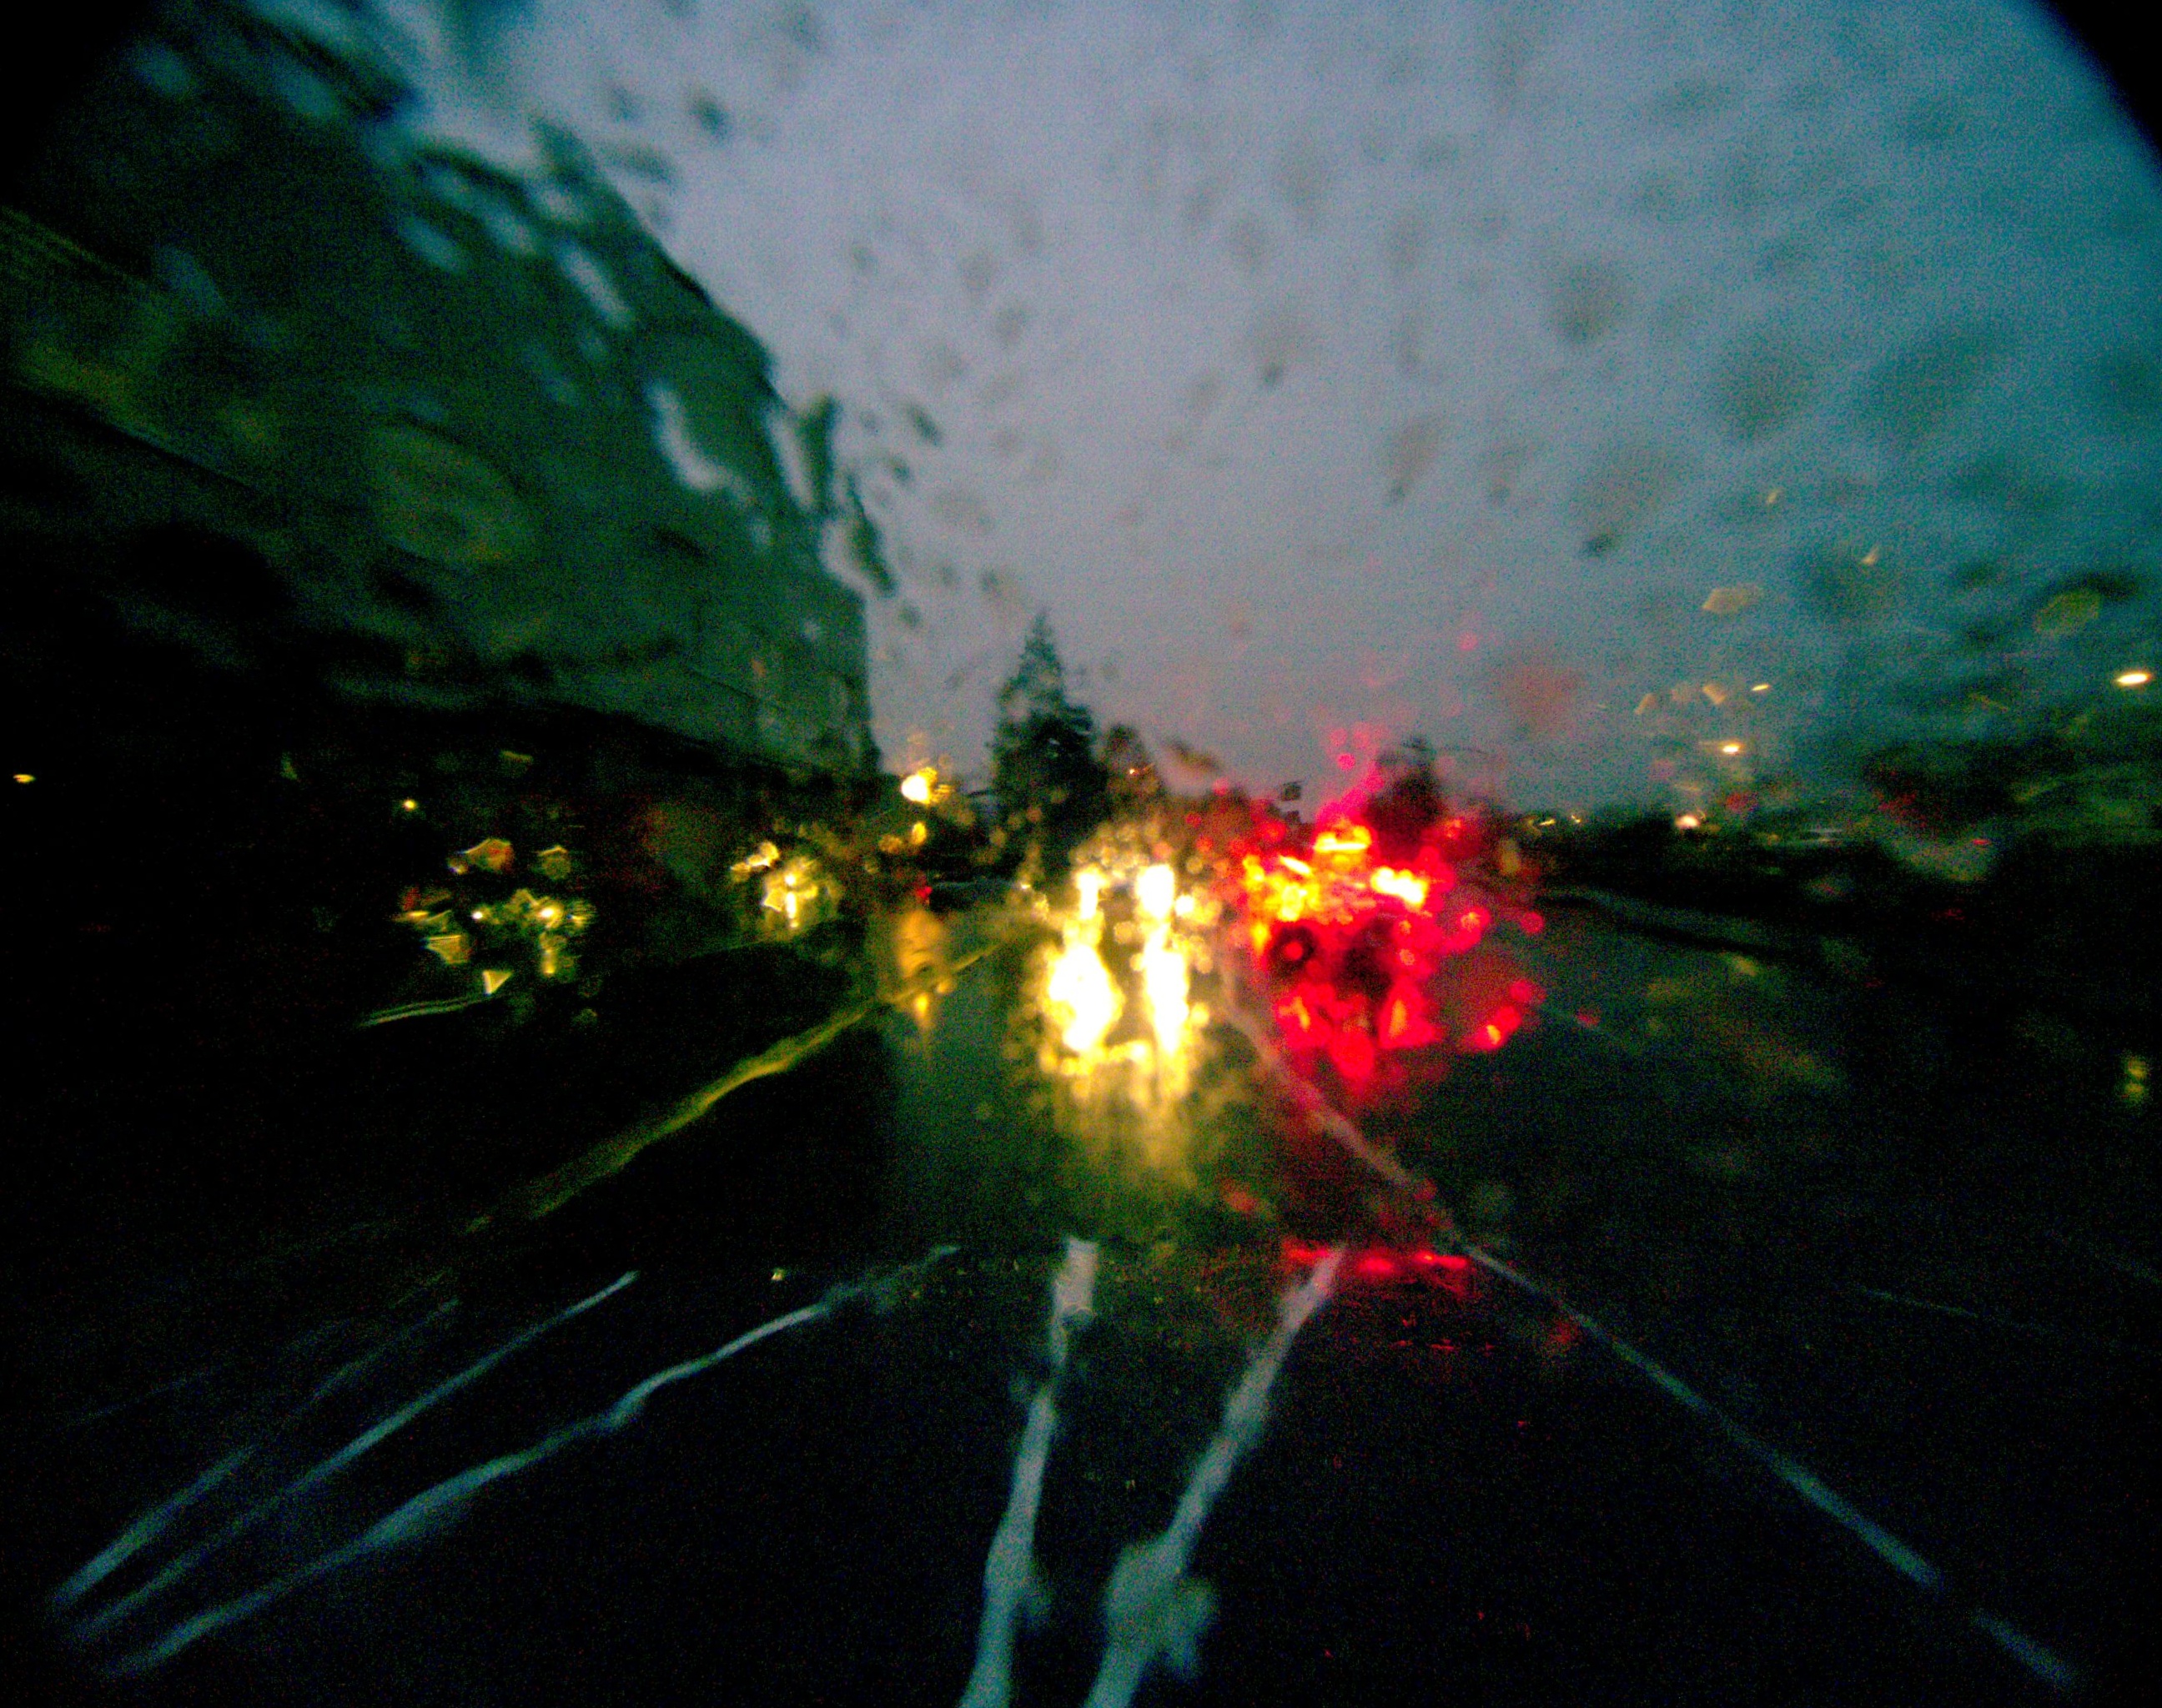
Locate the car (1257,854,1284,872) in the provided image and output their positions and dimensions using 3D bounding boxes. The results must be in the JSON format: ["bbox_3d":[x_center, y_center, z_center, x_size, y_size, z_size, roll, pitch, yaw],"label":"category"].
[{"bbox_3d":[16.107,0.747,64.478,1.773,1.422,3.802,-3,-1,21],"label":"car"}]

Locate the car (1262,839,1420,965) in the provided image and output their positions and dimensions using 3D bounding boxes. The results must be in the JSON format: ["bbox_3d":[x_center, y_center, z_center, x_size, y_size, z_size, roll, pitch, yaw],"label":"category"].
[{"bbox_3d":[4.139,0.684,12.819,1.774,1.713,4.425,-2,0,10],"label":"car"}]

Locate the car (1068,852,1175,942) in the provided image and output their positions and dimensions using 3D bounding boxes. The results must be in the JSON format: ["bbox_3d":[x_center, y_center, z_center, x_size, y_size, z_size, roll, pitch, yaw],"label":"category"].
[{"bbox_3d":[1.015,0.805,16.420,1.774,1.632,4.425,-2,0,9],"label":"car"}]

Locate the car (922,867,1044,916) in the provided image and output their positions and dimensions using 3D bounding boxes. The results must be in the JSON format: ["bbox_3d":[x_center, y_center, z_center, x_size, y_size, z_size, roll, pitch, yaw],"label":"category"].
[{"bbox_3d":[-3.596,1.383,28.456,4.180,1.432,1.798,-5,-1,2],"label":"car"}]

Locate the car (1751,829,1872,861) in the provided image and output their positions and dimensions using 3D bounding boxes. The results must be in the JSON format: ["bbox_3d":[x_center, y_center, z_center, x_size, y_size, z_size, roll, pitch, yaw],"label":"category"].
[{"bbox_3d":[37.711,-0.462,39.418,1.687,1.528,4.785,-2,0,0],"label":"car"}]

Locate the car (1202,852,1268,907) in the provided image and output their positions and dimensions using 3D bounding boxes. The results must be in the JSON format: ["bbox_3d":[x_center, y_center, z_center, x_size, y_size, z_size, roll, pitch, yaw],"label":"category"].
[{"bbox_3d":[4.877,0.745,23.695,1.665,1.477,4.004,-2,0,16],"label":"car"}]

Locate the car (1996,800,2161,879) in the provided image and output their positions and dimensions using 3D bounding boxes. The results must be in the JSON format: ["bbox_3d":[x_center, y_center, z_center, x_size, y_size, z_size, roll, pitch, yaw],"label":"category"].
[{"bbox_3d":[31.713,-0.424,23.174,5.200,2.269,2.218,-1,-1,-4],"label":"car"}]

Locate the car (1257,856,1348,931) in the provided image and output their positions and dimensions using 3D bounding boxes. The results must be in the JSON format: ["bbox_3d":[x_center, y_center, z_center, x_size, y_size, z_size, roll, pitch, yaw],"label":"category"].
[{"bbox_3d":[5.047,0.839,17.734,1.774,1.486,4.046,-2,0,13],"label":"car"}]
